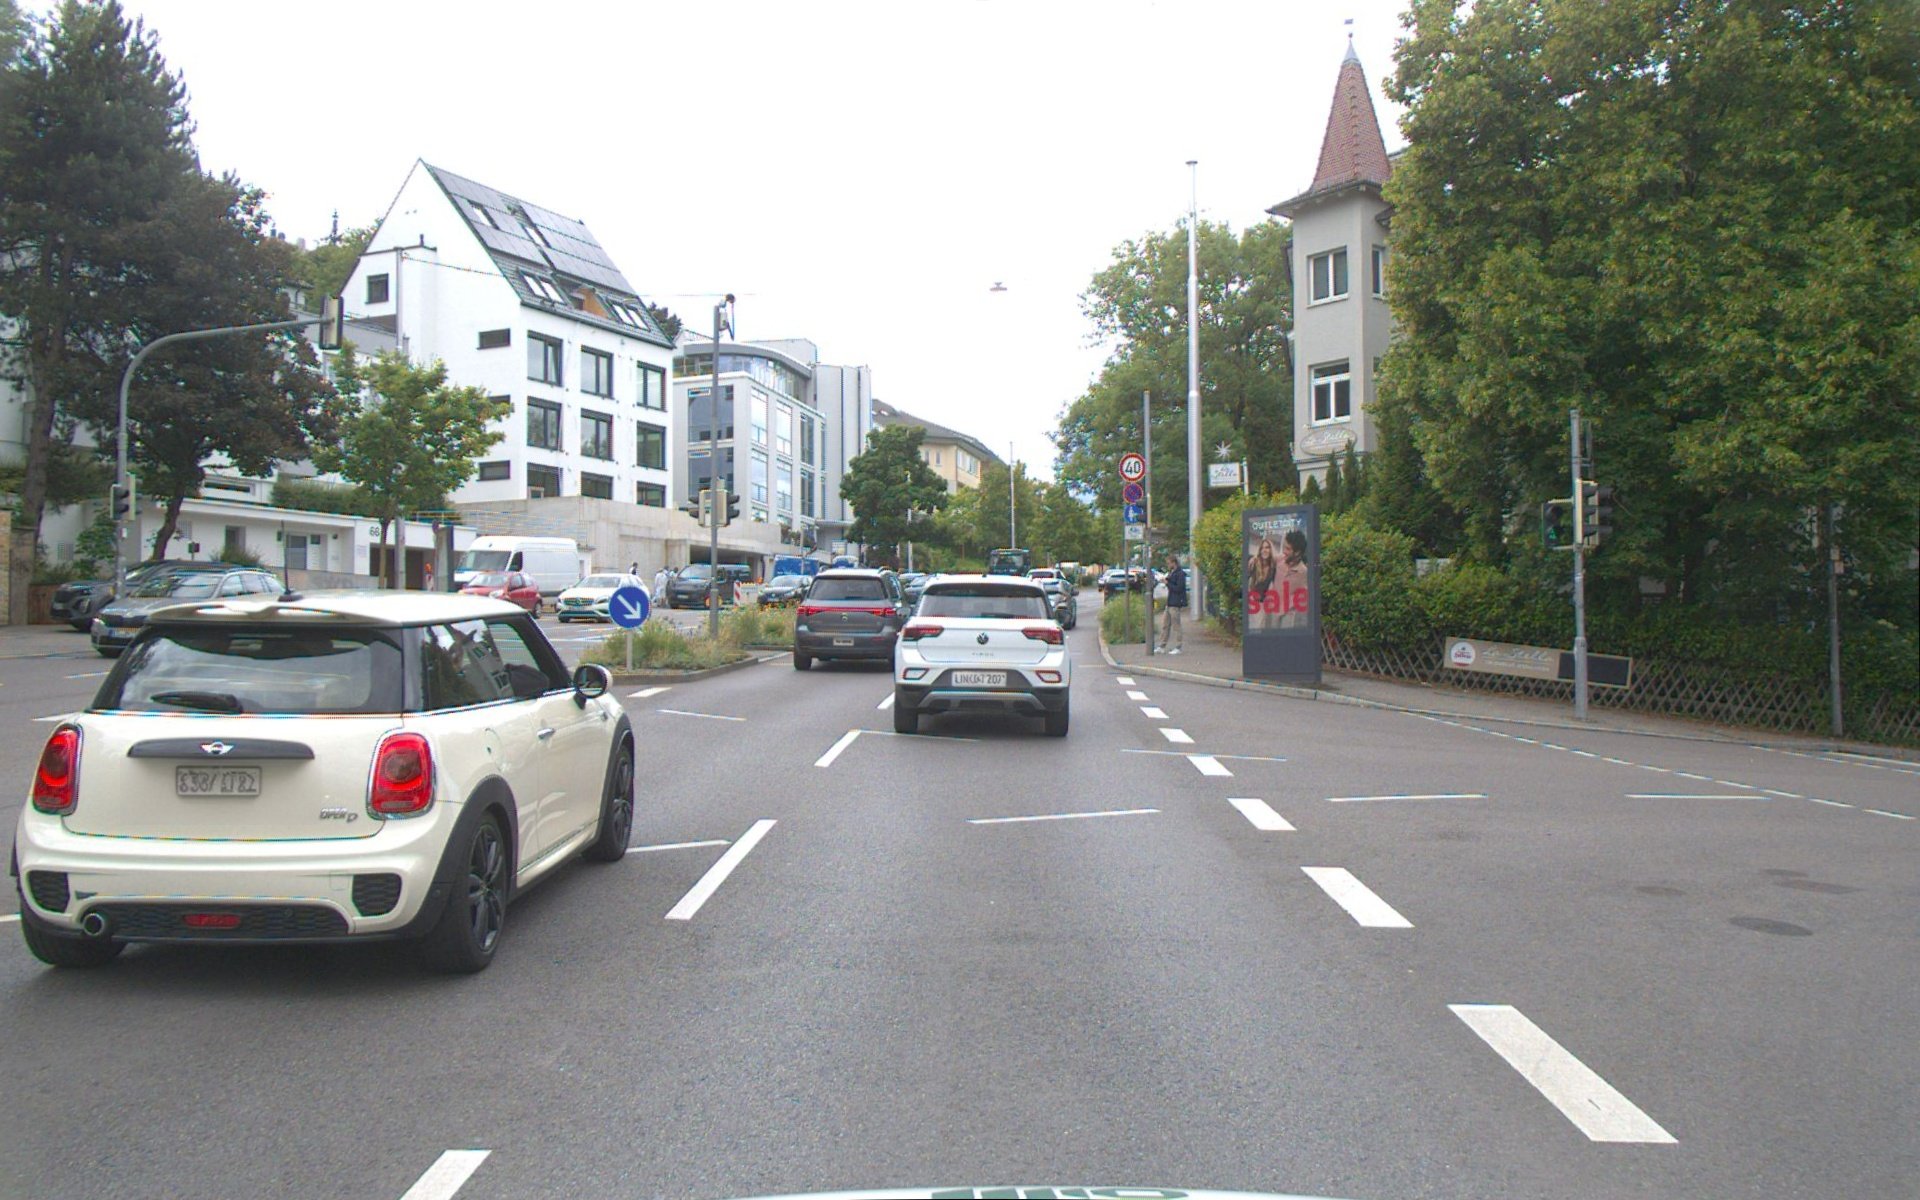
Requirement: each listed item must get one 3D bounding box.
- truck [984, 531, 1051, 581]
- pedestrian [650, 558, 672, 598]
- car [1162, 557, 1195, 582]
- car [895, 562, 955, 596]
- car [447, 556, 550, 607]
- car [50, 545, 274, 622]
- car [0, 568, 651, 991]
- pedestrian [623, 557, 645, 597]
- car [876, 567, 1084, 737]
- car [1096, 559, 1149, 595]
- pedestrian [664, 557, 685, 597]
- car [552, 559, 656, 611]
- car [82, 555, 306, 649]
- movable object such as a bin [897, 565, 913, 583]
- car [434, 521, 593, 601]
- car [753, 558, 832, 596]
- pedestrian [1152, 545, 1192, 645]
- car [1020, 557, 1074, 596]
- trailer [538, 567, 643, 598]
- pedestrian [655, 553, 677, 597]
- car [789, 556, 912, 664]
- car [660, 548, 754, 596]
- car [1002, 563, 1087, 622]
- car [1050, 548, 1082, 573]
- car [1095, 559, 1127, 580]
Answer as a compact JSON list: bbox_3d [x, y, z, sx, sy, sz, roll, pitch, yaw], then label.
[{"bbox_3d":[3.744,-2.811,105.603,2.898,3.022,8.987,1,1,11],"label":"truck"},{"bbox_3d":[-12.619,-0.925,69.740,0.668,1.668,0.663,1,1,-37],"label":"pedestrian"},{"bbox_3d":[13.803,-1.906,104.402,1.818,1.526,4.060,-1,1,11],"label":"car"},{"bbox_3d":[-1.602,-0.984,76.946,1.656,1.527,4.559,1,1,14],"label":"car"},{"bbox_3d":[-14.028,-0.578,50.514,1.587,1.491,3.930,0,1,8],"label":"car"},{"bbox_3d":[-17.109,-0.388,35.578,4.094,1.566,1.575,-1,1,-40],"label":"car"},{"bbox_3d":[-2.538,0.580,7.431,1.594,1.417,3.566,-1,1,0],"label":"car"},{"bbox_3d":[-13.725,-0.981,69.623,0.612,1.668,0.672,2,1,18],"label":"pedestrian"},{"bbox_3d":[0.102,0.447,17.370,1.776,1.566,3.685,-1,1,-6],"label":"car"},{"bbox_3d":[7.576,-1.059,76.853,1.833,1.527,4.559,3,1,13],"label":"car"},{"bbox_3d":[-12.415,-1.002,71.947,0.668,1.668,0.663,1,1,-37],"label":"pedestrian"},{"bbox_3d":[-10.643,-0.466,49.745,1.616,1.417,4.148,2,1,9],"label":"car"},{"bbox_3d":[-13.158,-0.014,28.740,1.617,1.474,4.569,1,1,2],"label":"car"},{"bbox_3d":[-2.997,-1.413,89.769,0.632,1.007,0.660,1,1,22],"label":"movable object such as a bin"},{"bbox_3d":[-15.313,-1.340,57.325,2.183,2.612,7.429,0,1,12],"label":"car"},{"bbox_3d":[-6.795,-0.915,67.380,1.592,1.417,3.857,3,1,21],"label":"car"},{"bbox_3d":[4.050,-0.099,31.586,0.678,1.866,0.620,1,1,3],"label":"pedestrian"},{"bbox_3d":[3.898,-1.071,73.600,1.818,1.680,4.641,-1,1,10],"label":"car"},{"bbox_3d":[-14.058,-0.690,63.224,2.198,1.131,4.627,0,1,12],"label":"trailer"},{"bbox_3d":[-12.604,-1.065,70.858,0.668,1.872,0.663,1,1,-37],"label":"pedestrian"},{"bbox_3d":[-1.788,0.109,28.315,1.776,1.680,4.636,-1,1,0],"label":"car"},{"bbox_3d":[-10.804,-1.215,70.980,1.940,2.001,5.222,0,1,17],"label":"car"},{"bbox_3d":[2.508,-0.216,48.068,1.833,1.527,4.559,3,1,10],"label":"car"},{"bbox_3d":[10.019,-3.750,156.426,2.024,2.346,5.470,0,1,14],"label":"car"},{"bbox_3d":[11.083,-2.232,121.093,1.659,1.522,4.490,1,1,14],"label":"car"}]
